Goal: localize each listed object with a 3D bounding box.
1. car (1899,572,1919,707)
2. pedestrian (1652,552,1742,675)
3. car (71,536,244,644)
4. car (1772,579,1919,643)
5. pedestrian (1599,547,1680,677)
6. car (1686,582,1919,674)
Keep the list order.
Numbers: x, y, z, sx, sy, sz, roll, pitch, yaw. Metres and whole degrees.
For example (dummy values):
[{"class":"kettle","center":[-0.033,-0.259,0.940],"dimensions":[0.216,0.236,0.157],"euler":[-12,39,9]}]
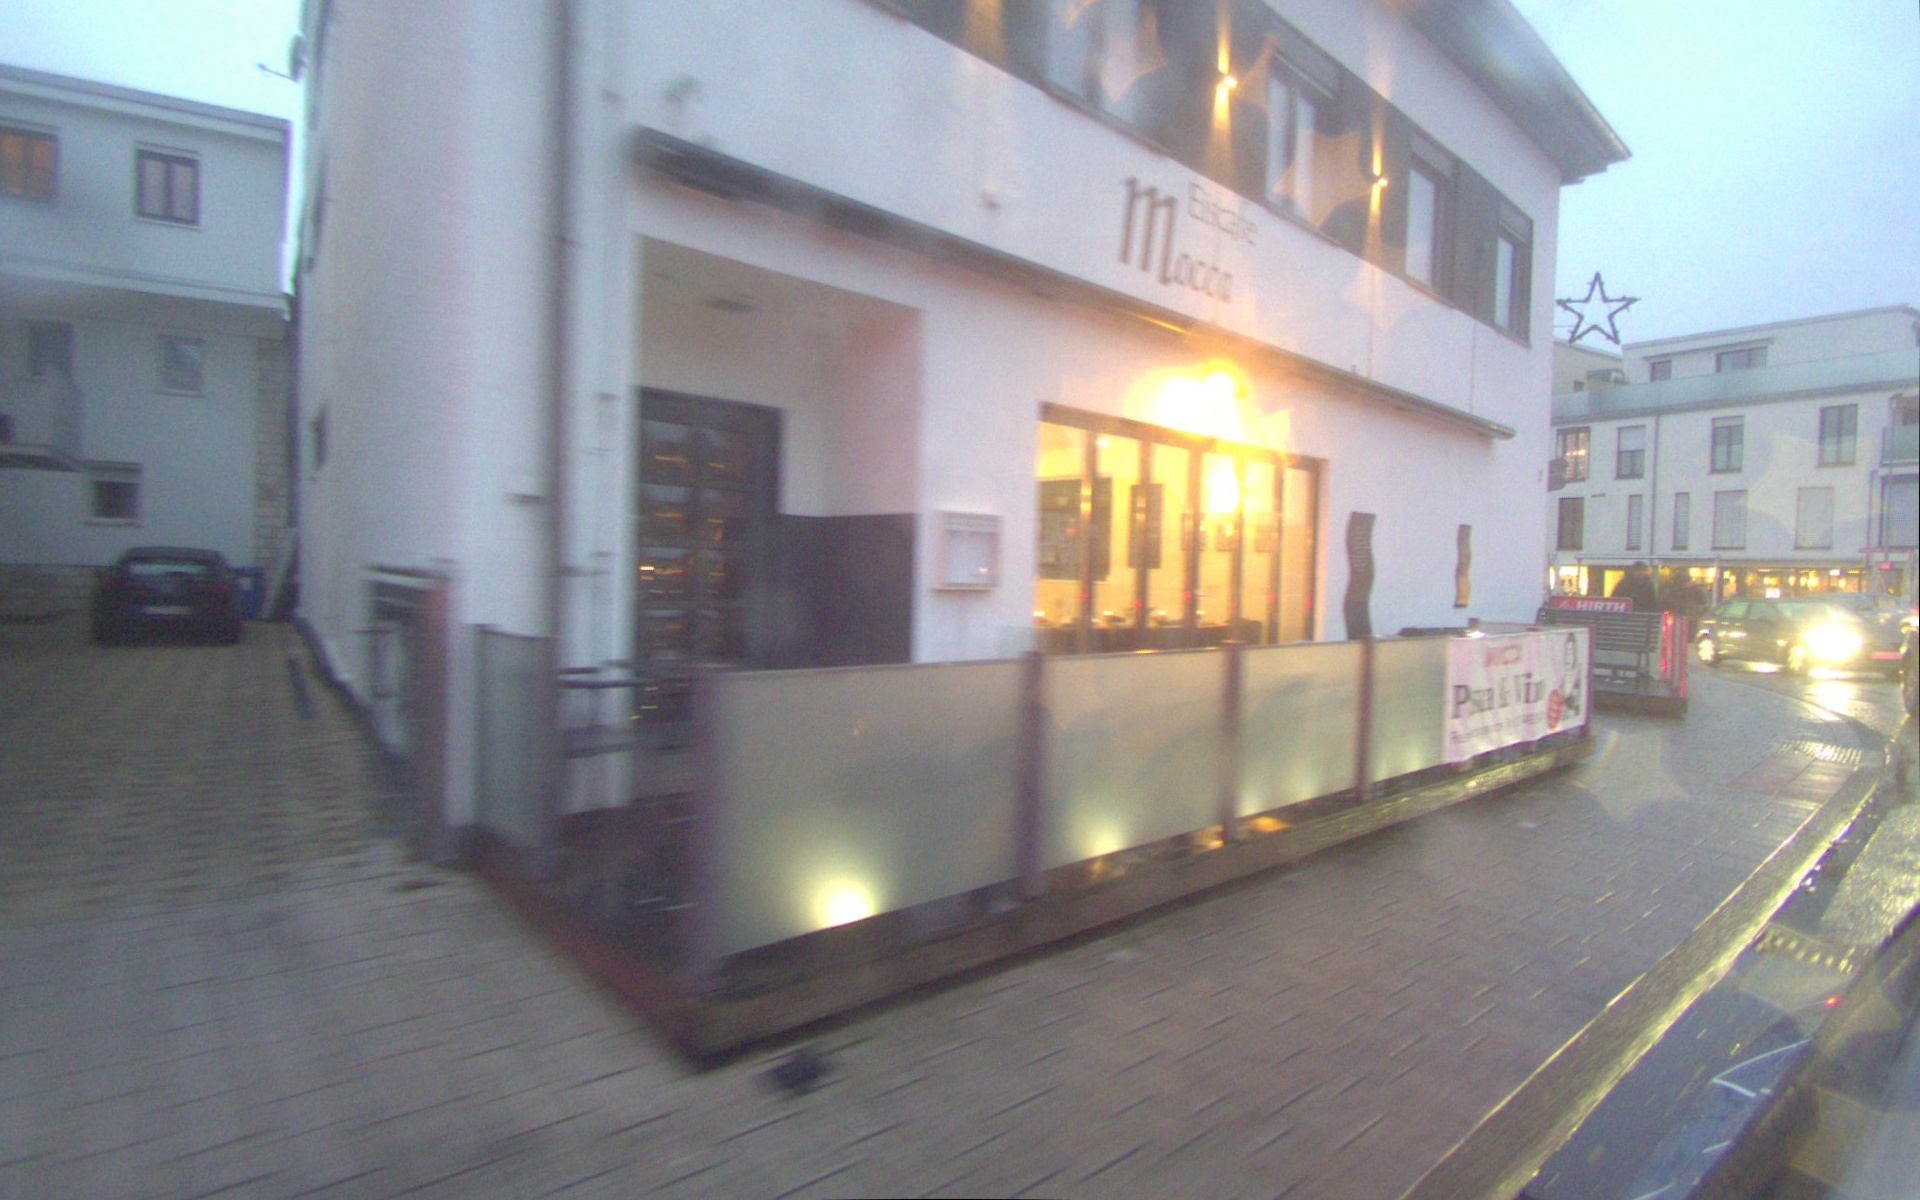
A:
[{"class":"car","center":[11.646,0.499,10.470],"dimensions":[1.943,1.605,4.066],"euler":[1,1,30]},{"class":"pedestrian","center":[10.961,0.188,15.078],"dimensions":[0.754,1.783,0.791],"euler":[-1,1,3]},{"class":"car","center":[-12.786,-0.213,16.258],"dimensions":[1.901,1.433,3.962],"euler":[3,2,-37]},{"class":"car","center":[24.309,0.249,26.936],"dimensions":[4.462,1.498,2.033],"euler":[-2,1,-17]},{"class":"pedestrian","center":[10.185,0.161,15.193],"dimensions":[0.697,1.889,0.791],"euler":[-1,1,3]},{"class":"car","center":[15.814,0.436,18.892],"dimensions":[1.732,1.498,4.017],"euler":[0,1,3]}]
